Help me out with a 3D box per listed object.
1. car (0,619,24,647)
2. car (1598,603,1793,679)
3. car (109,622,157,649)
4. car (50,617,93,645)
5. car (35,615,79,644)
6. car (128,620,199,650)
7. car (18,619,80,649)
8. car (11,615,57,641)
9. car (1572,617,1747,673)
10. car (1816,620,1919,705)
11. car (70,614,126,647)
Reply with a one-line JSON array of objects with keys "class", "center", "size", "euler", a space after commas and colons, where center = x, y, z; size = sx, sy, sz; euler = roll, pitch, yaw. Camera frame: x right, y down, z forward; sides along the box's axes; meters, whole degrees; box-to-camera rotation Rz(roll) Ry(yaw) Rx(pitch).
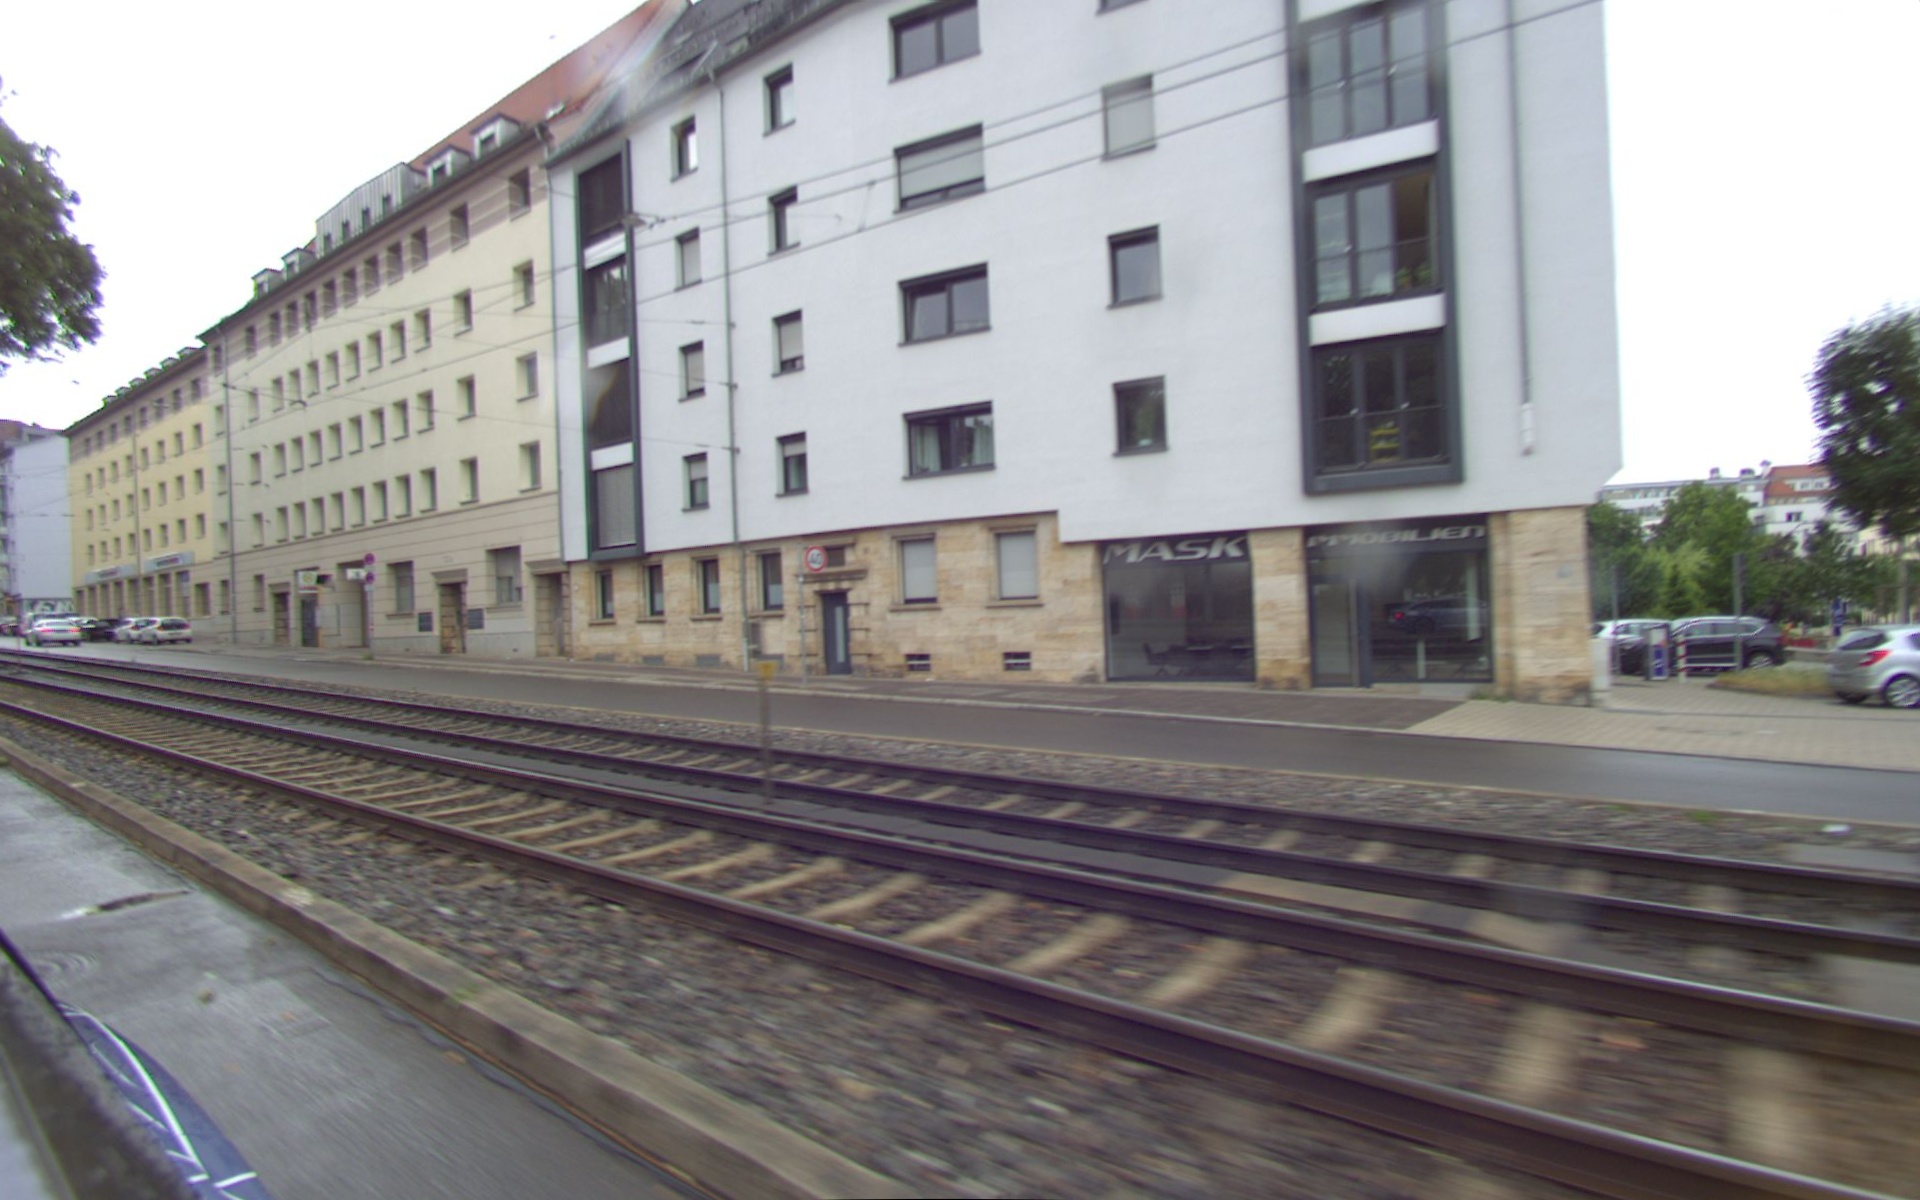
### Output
[{"class": "car", "center": [-70.795, 2.389, 74.427], "size": [4.218, 2.029, 2.007], "euler": [-1, -1, 35]}, {"class": "car", "center": [20.597, 1.130, 28.533], "size": [3.967, 2.029, 1.929], "euler": [-1, -2, 18]}, {"class": "car", "center": [-47.145, 1.989, 57.681], "size": [3.184, 1.495, 1.311], "euler": [-1, -1, 35]}, {"class": "car", "center": [-57.224, 1.989, 65.178], "size": [3.398, 1.766, 1.361], "euler": [-1, -1, 35]}, {"class": "car", "center": [-61.020, 1.951, 68.373], "size": [4.036, 1.897, 1.538], "euler": [-1, -1, 39]}, {"class": "car", "center": [-43.487, 1.884, 55.236], "size": [3.991, 1.554, 2.007], "euler": [-1, -1, 35]}, {"class": "car", "center": [-49.631, 1.832, 55.105], "size": [5.010, 1.548, 1.670], "euler": [-1, -2, 38]}, {"class": "car", "center": [-65.920, 1.968, 72.019], "size": [3.584, 1.822, 1.707], "euler": [-1, -1, 35]}, {"class": "car", "center": [21.410, 1.371, 31.162], "size": [3.967, 1.630, 1.929], "euler": [-1, -2, 18]}, {"class": "car", "center": [17.819, 1.084, 17.785], "size": [3.880, 1.431, 1.593], "euler": [0, -1, 15]}, {"class": "car", "center": [-52.744, 1.818, 61.905], "size": [4.292, 1.975, 1.708], "euler": [-1, -1, 38]}]
